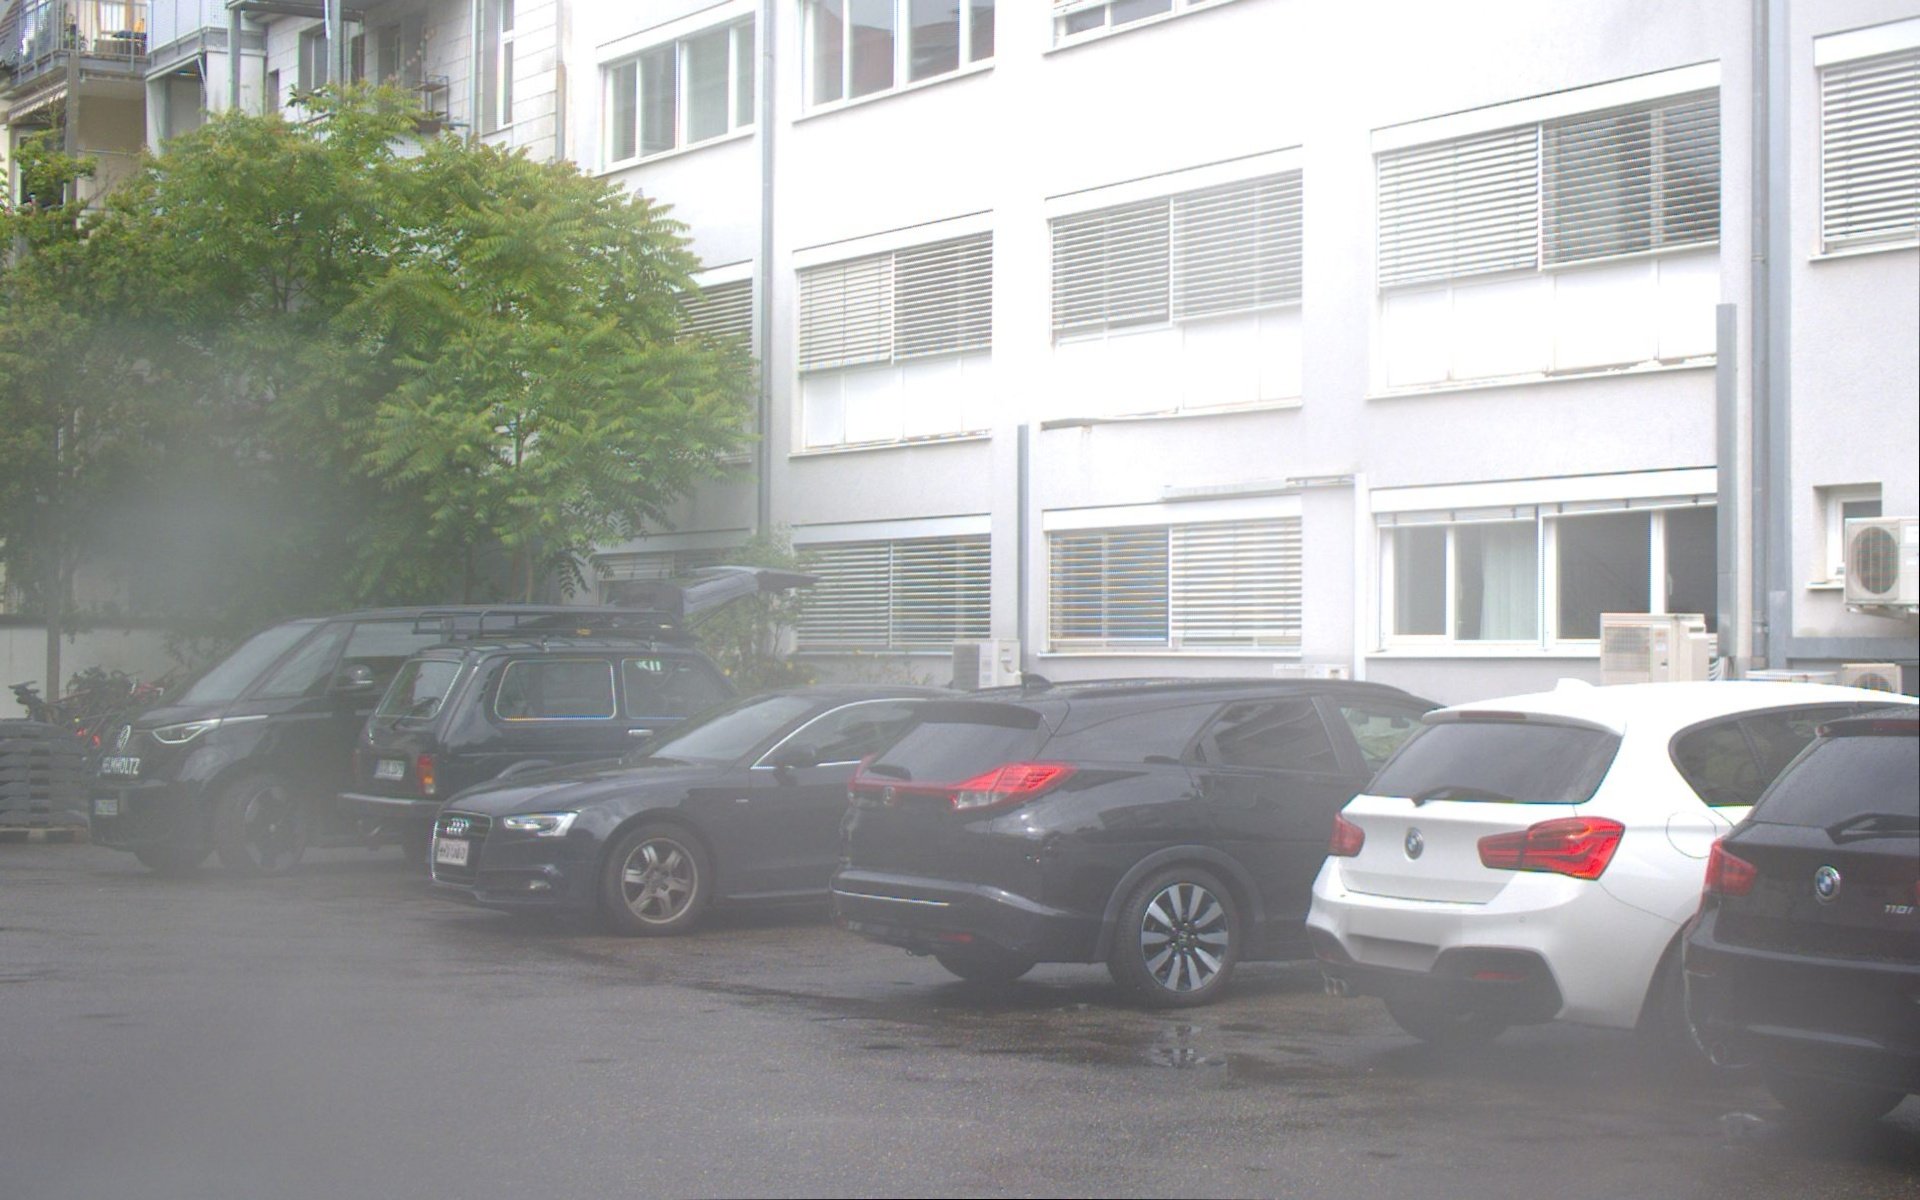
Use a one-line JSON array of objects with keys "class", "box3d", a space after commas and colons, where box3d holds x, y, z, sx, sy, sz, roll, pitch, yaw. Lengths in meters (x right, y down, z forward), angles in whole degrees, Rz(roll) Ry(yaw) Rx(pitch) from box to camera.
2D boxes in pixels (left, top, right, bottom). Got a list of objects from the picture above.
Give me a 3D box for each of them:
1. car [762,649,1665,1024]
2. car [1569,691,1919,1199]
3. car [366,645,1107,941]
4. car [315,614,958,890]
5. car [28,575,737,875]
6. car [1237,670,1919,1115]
[{"class": "car", "box3d": [1.229, 1.019, 16.188, 3.909, 1.508, 1.819, -1, -1, -32]}, {"class": "car", "box3d": [4.094, 0.992, 11.040, 3.987, 1.398, 1.773, -1, 0, -30]}, {"class": "car", "box3d": [-1.276, 1.053, 19.989, 3.909, 1.508, 1.752, -1, -1, -30]}, {"class": "car", "box3d": [-2.176, 0.971, 23.204, 3.908, 1.682, 1.817, -1, -1, -27]}, {"class": "car", "box3d": [-4.207, 0.827, 25.303, 4.636, 1.996, 2.225, 0, 0, -36]}, {"class": "car", "box3d": [3.234, 1.021, 13.395, 3.987, 1.453, 1.773, 0, -1, -31]}]
